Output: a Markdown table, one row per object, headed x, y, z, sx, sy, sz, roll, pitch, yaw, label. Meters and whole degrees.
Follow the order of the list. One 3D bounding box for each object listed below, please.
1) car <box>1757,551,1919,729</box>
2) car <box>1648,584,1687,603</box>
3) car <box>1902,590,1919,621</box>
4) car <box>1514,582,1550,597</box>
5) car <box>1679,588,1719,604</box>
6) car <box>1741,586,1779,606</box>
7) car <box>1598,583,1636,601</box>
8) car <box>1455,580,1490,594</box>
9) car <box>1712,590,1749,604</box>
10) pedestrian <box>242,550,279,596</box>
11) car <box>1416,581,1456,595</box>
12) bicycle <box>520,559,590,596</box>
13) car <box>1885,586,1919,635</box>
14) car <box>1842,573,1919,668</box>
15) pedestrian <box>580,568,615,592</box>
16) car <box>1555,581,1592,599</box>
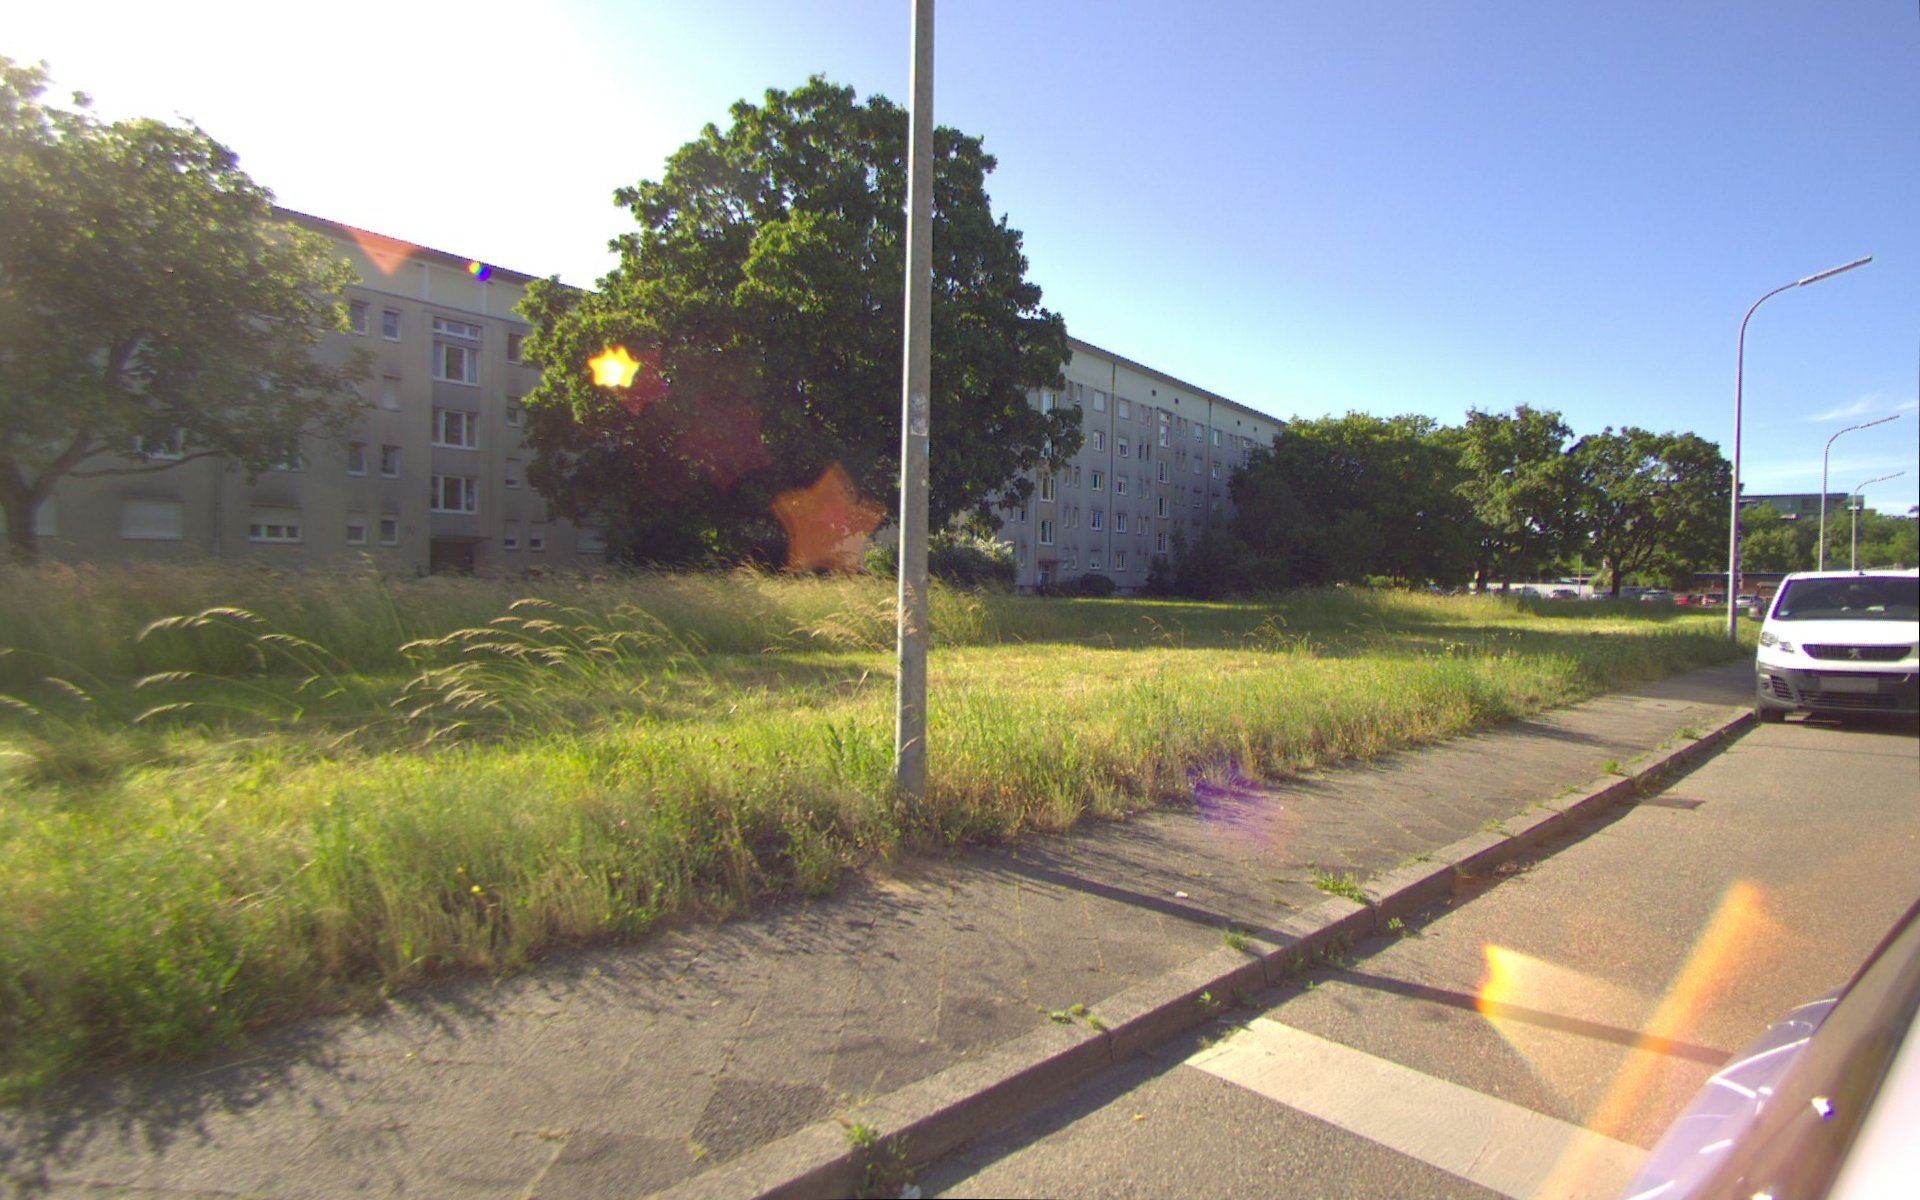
| x | y | z | sx | sy | sz | roll | pitch | yaw | label |
| --- | --- | --- | --- | --- | --- | --- | --- | --- | --- |
| 11.652 | 0.407 | 12.832 | 1.916 | 1.895 | 4.787 | 0 | 1 | 45 | car |
| 72.484 | -0.670 | 103.675 | 3.921 | 1.795 | 1.863 | 0 | 2 | -32 | car |
| 47.966 | 0.277 | 50.295 | 1.652 | 1.499 | 3.854 | 0 | 0 | 44 | car |
| 65.993 | -1.235 | 116.687 | 3.921 | 1.580 | 1.959 | 0 | 2 | -32 | car |
| 74.484 | -0.439 | 102.029 | 3.921 | 1.488 | 1.867 | 0 | 2 | -32 | car |
| 77.035 | -0.396 | 97.428 | 3.927 | 1.883 | 1.956 | 0 | 2 | -38 | car |
| 70.398 | -0.880 | 108.451 | 3.921 | 1.795 | 1.959 | 0 | 2 | -32 | car |
| 62.459 | -1.589 | 123.366 | 3.921 | 1.580 | 1.959 | 0 | 2 | -32 | car |
| 75.607 | -0.273 | 99.351 | 3.924 | 1.340 | 1.782 | 0 | 2 | -35 | car |
| -22.643 | -0.868 | 32.772 | 0.752 | 1.475 | 0.758 | 2 | 2 | 34 | pedestrian |
| 54.509 | -1.335 | 115.911 | 1.959 | 1.468 | 3.646 | 1 | 2 | -28 | car |
| -17.151 | -0.959 | 42.946 | 0.778 | 1.544 | 2.717 | 3 | 3 | 39 | bicycle |
| 34.127 | 0.339 | 35.901 | 1.838 | 1.672 | 4.401 | 1 | 1 | 42 | car |
| 19.098 | 0.366 | 20.362 | 4.016 | 1.752 | 1.699 | 0 | 1 | -44 | car |
| -13.717 | -0.754 | 38.299 | 0.741 | 0.859 | 0.991 | 3 | 2 | 38 | pedestrian |
| 68.324 | -1.112 | 112.771 | 3.922 | 1.795 | 1.959 | -2 | 3 | -32 | car |
